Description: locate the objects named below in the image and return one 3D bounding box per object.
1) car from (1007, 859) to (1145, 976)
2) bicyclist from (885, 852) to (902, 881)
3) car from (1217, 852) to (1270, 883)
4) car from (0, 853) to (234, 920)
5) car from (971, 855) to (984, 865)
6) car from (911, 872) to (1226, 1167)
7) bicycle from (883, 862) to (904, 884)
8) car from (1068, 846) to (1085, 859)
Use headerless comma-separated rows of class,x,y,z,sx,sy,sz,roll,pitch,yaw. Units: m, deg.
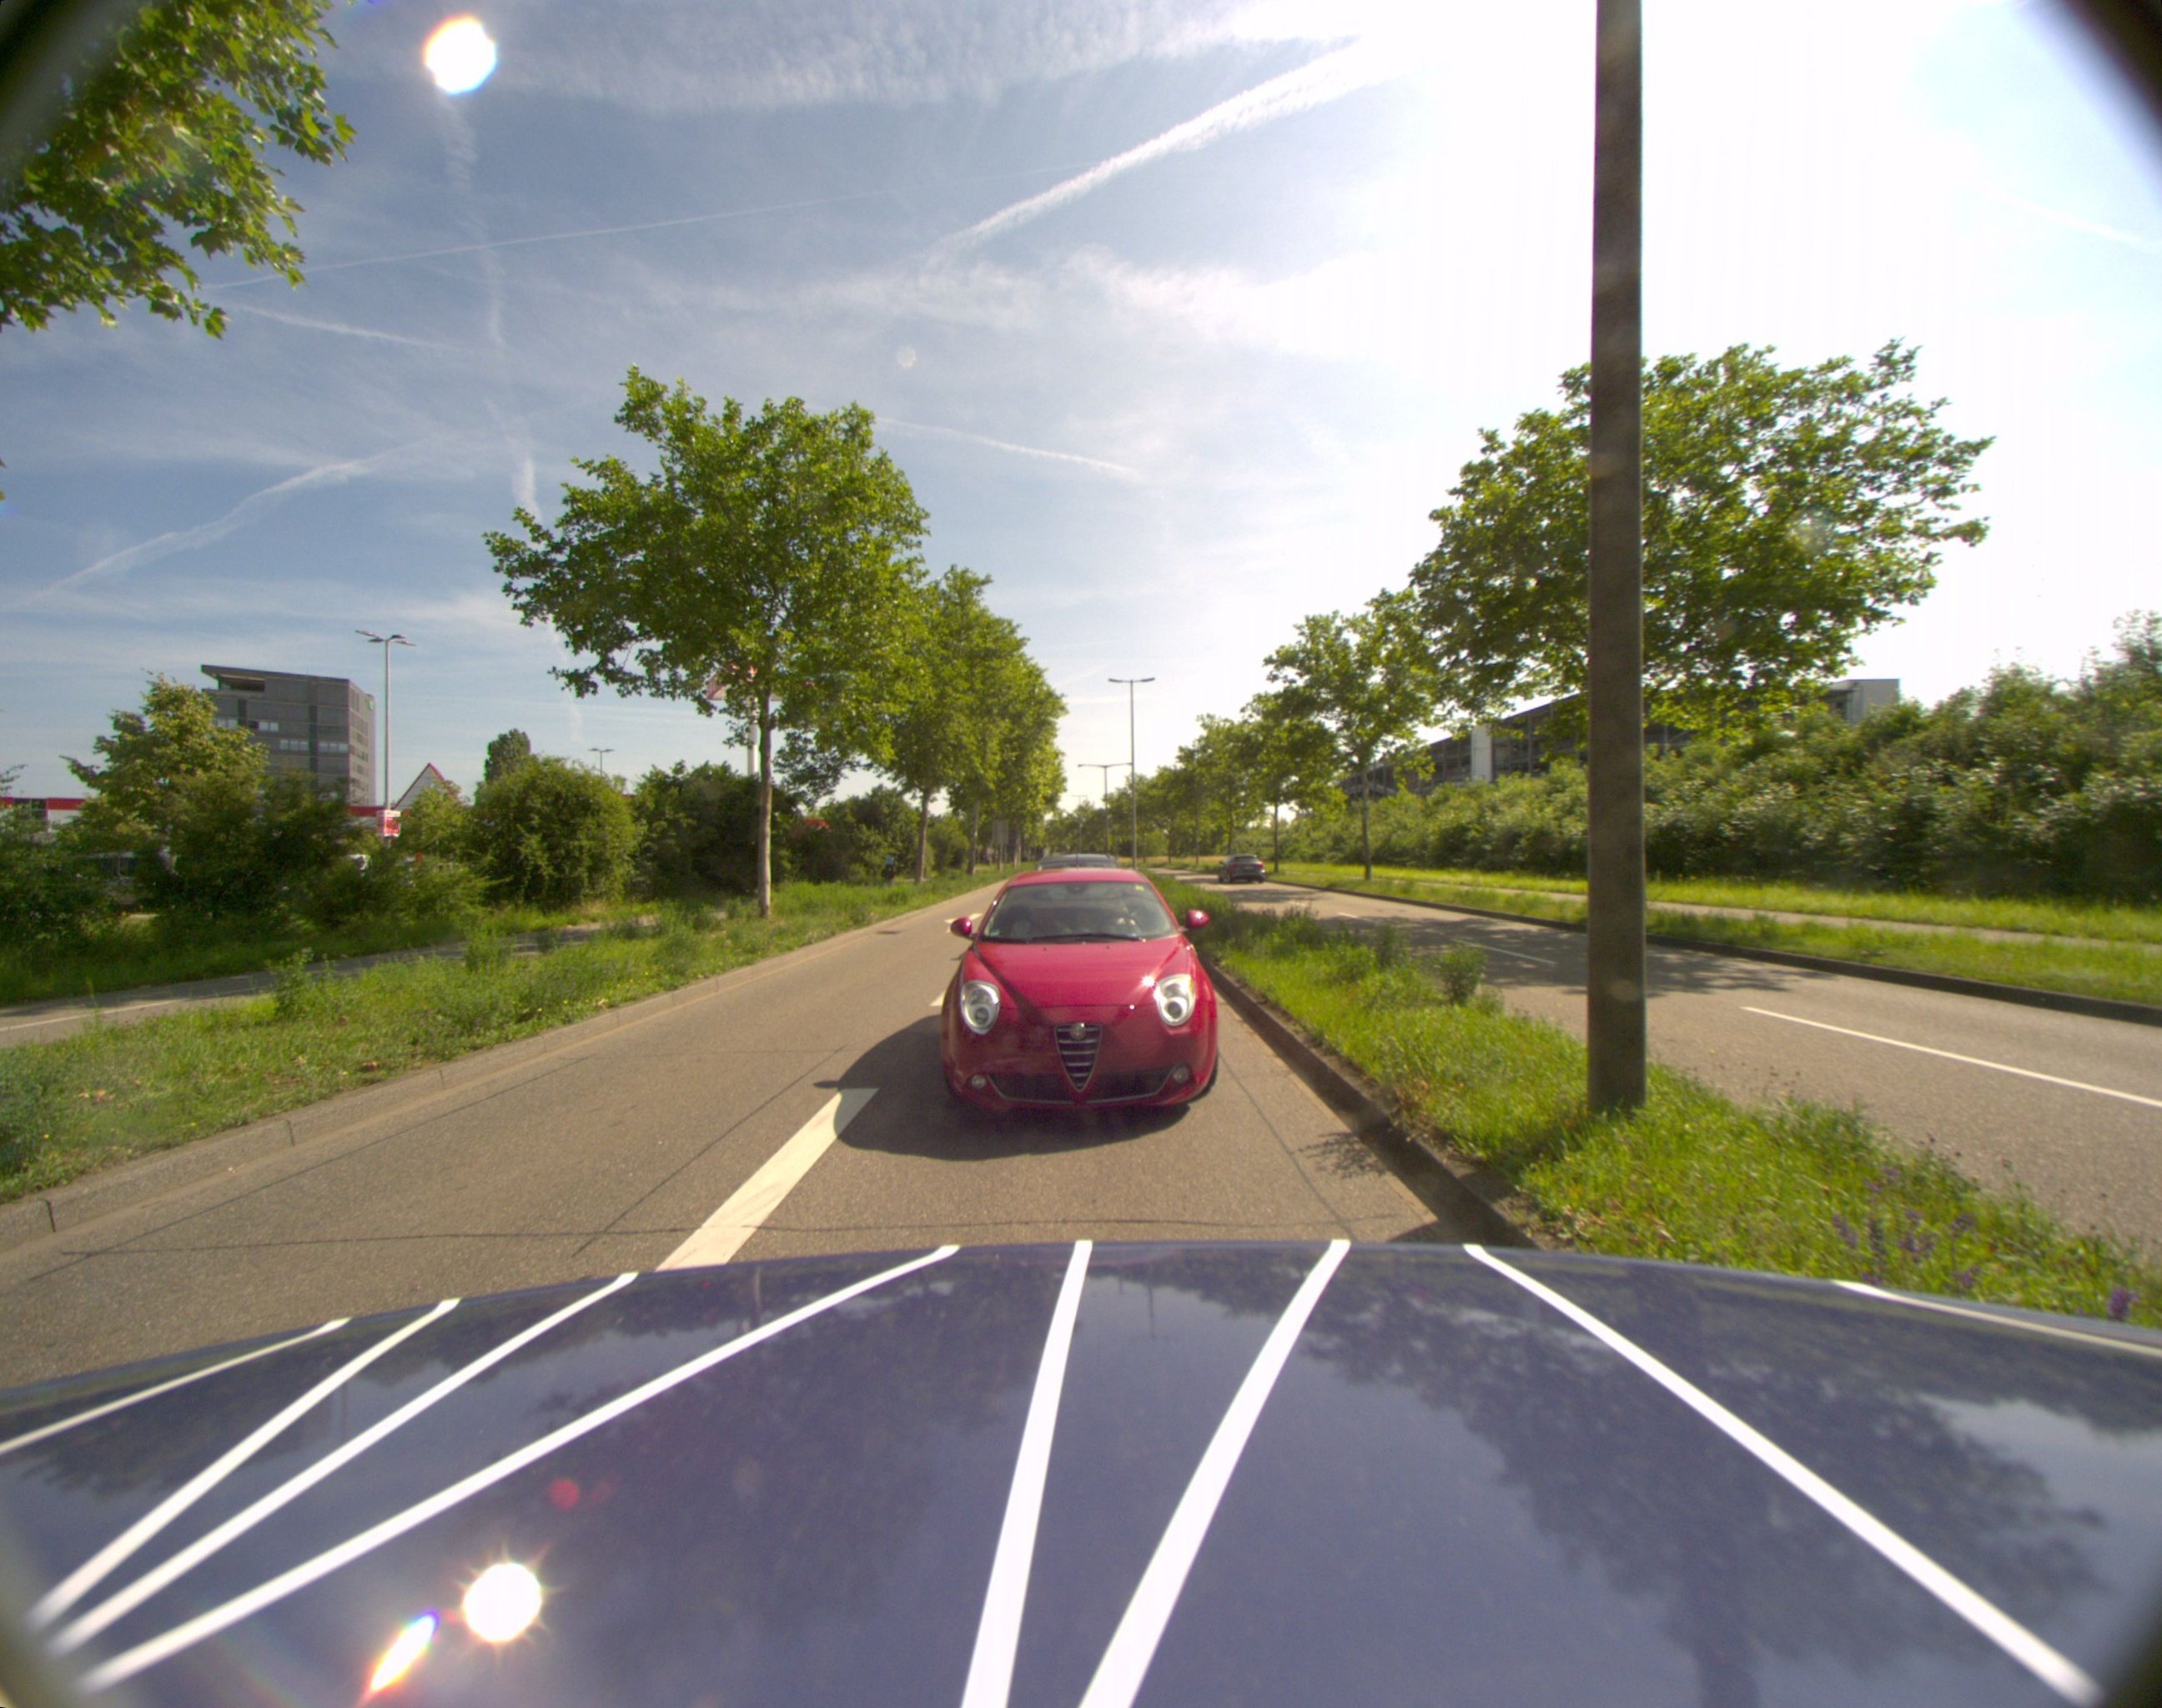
car,-0.044,0.895,12.537,1.874,1.536,4.081,-1,0,1
bicyclist,-10.773,0.727,43.703,0.687,1.622,1.002,0,1,1
car,8.355,0.656,39.384,1.868,1.459,3.937,-1,1,0
car,-25.074,0.773,19.700,3.870,1.576,1.844,-1,1,-38
car,-25.708,1.530,188.294,2.067,2.396,5.995,0,0,-20
car,-0.040,0.949,6.075,1.658,1.430,3.908,-2,0,1
bicycle,-10.769,1.082,43.688,0.687,1.230,1.934,0,1,1
car,-0.817,-0.266,139.416,2.066,2.396,5.532,0,0,-13
